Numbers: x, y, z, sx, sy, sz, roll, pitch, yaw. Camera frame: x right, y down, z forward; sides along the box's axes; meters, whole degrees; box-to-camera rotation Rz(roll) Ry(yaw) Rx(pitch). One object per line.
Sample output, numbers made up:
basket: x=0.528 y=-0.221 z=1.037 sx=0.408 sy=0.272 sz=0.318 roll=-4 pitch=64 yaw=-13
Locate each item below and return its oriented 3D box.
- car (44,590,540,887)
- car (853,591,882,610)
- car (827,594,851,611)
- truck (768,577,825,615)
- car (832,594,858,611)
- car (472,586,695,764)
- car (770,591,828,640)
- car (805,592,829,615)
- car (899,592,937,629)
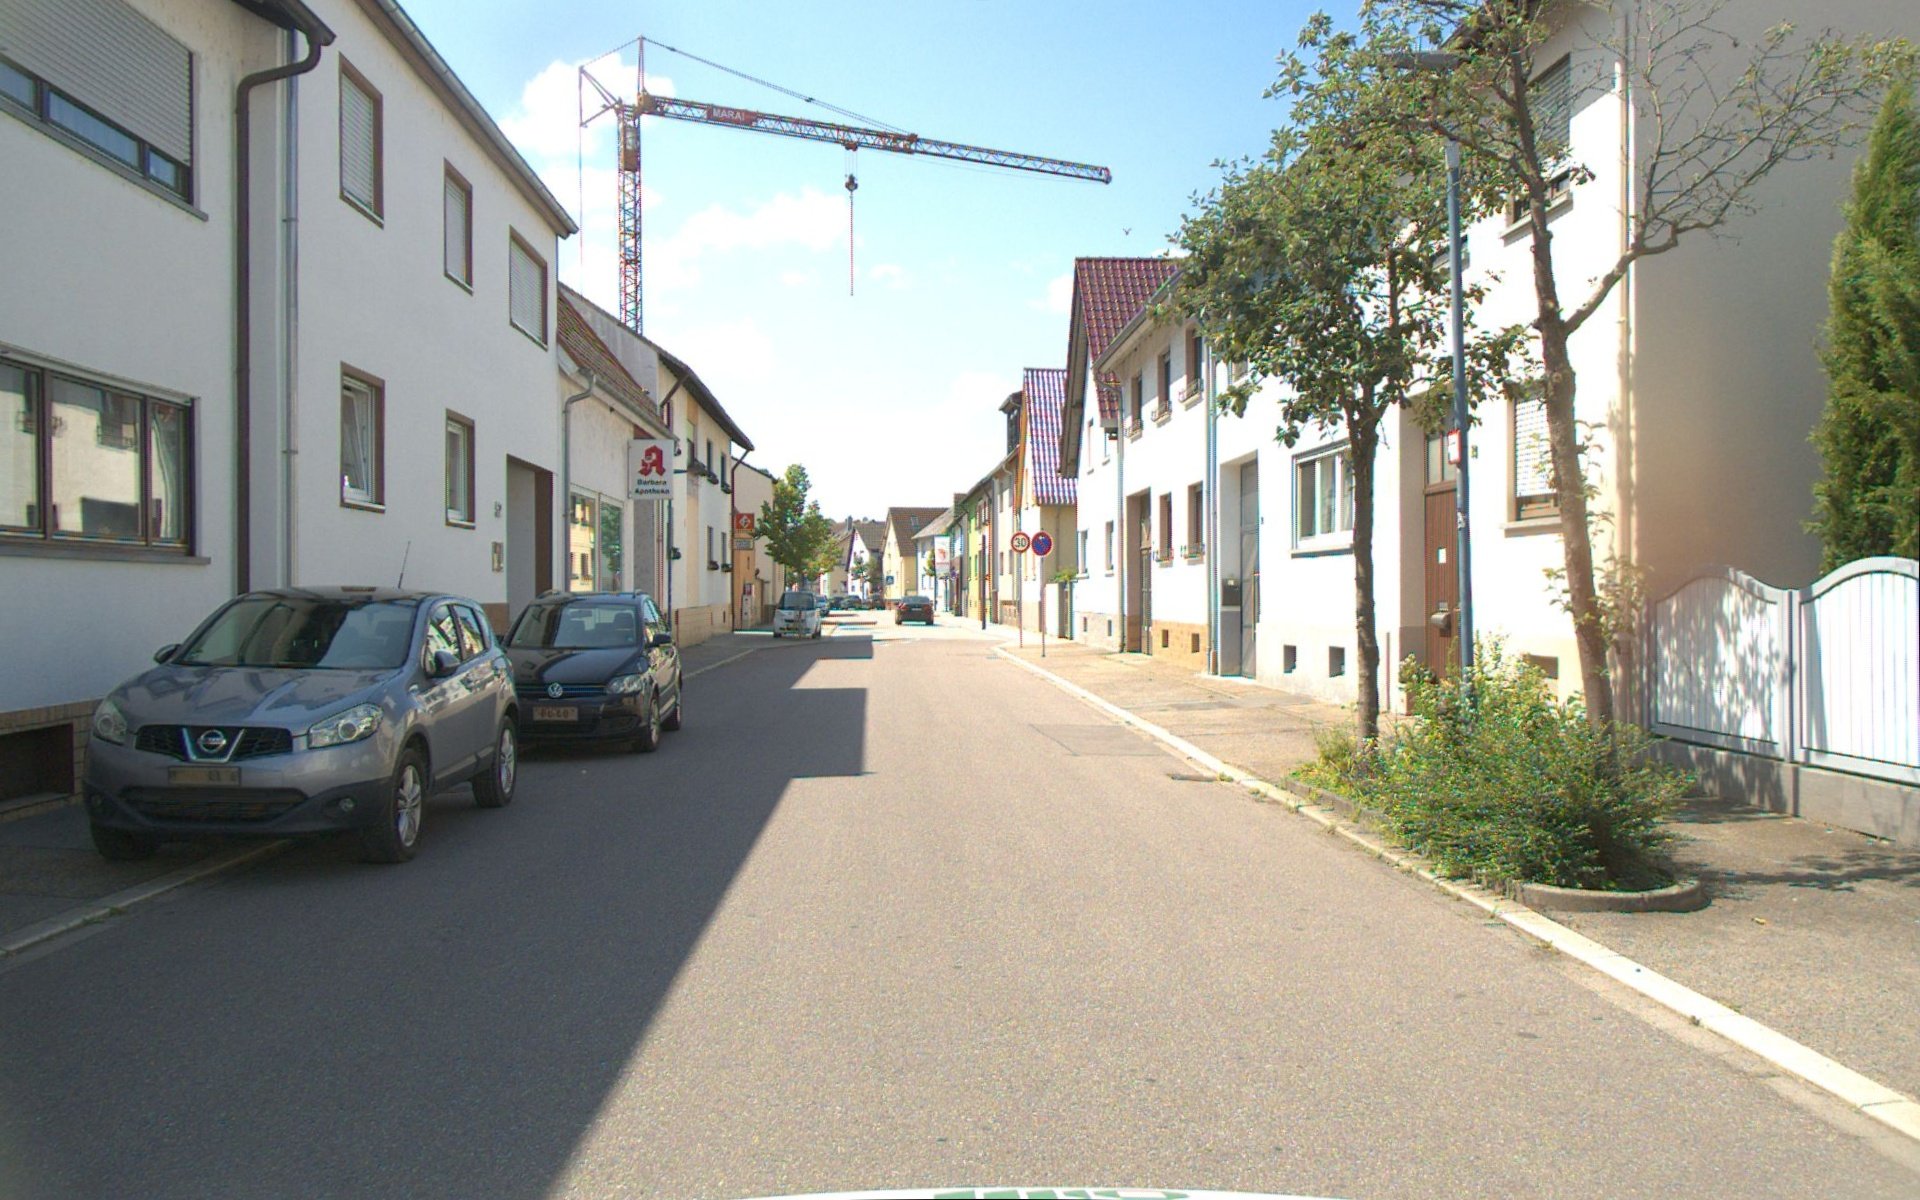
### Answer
car: x=-4.086 y=0.721 z=10.927 sx=1.723 sy=1.551 sz=4.286 roll=-1 pitch=0 yaw=-3
car: x=-9.177 y=0.063 z=163.631 sx=1.756 sy=1.784 sz=4.205 roll=-1 pitch=0 yaw=-19
car: x=-13.261 y=0.256 z=180.703 sx=1.791 sy=1.784 sz=4.211 roll=-1 pitch=0 yaw=-15
truck: x=-18.184 y=-0.395 z=182.901 sx=3.327 sy=3.933 sz=13.852 roll=-1 pitch=0 yaw=-18
car: x=-12.033 y=0.272 z=173.005 sx=1.793 sy=1.784 sz=4.206 roll=-1 pitch=0 yaw=-18
car: x=-3.840 y=0.688 z=17.493 sx=1.620 sy=1.637 sz=4.058 roll=-1 pitch=0 yaw=-3
car: x=-5.469 y=0.512 z=56.527 sx=1.688 sy=1.583 sz=4.170 roll=1 pitch=0 yaw=-2
car: x=-10.851 y=0.258 z=125.549 sx=1.701 sy=1.716 sz=4.226 roll=2 pitch=0 yaw=-6
car: x=-2.116 y=0.530 z=83.204 sx=1.747 sy=1.784 sz=3.997 roll=-1 pitch=0 yaw=-4
